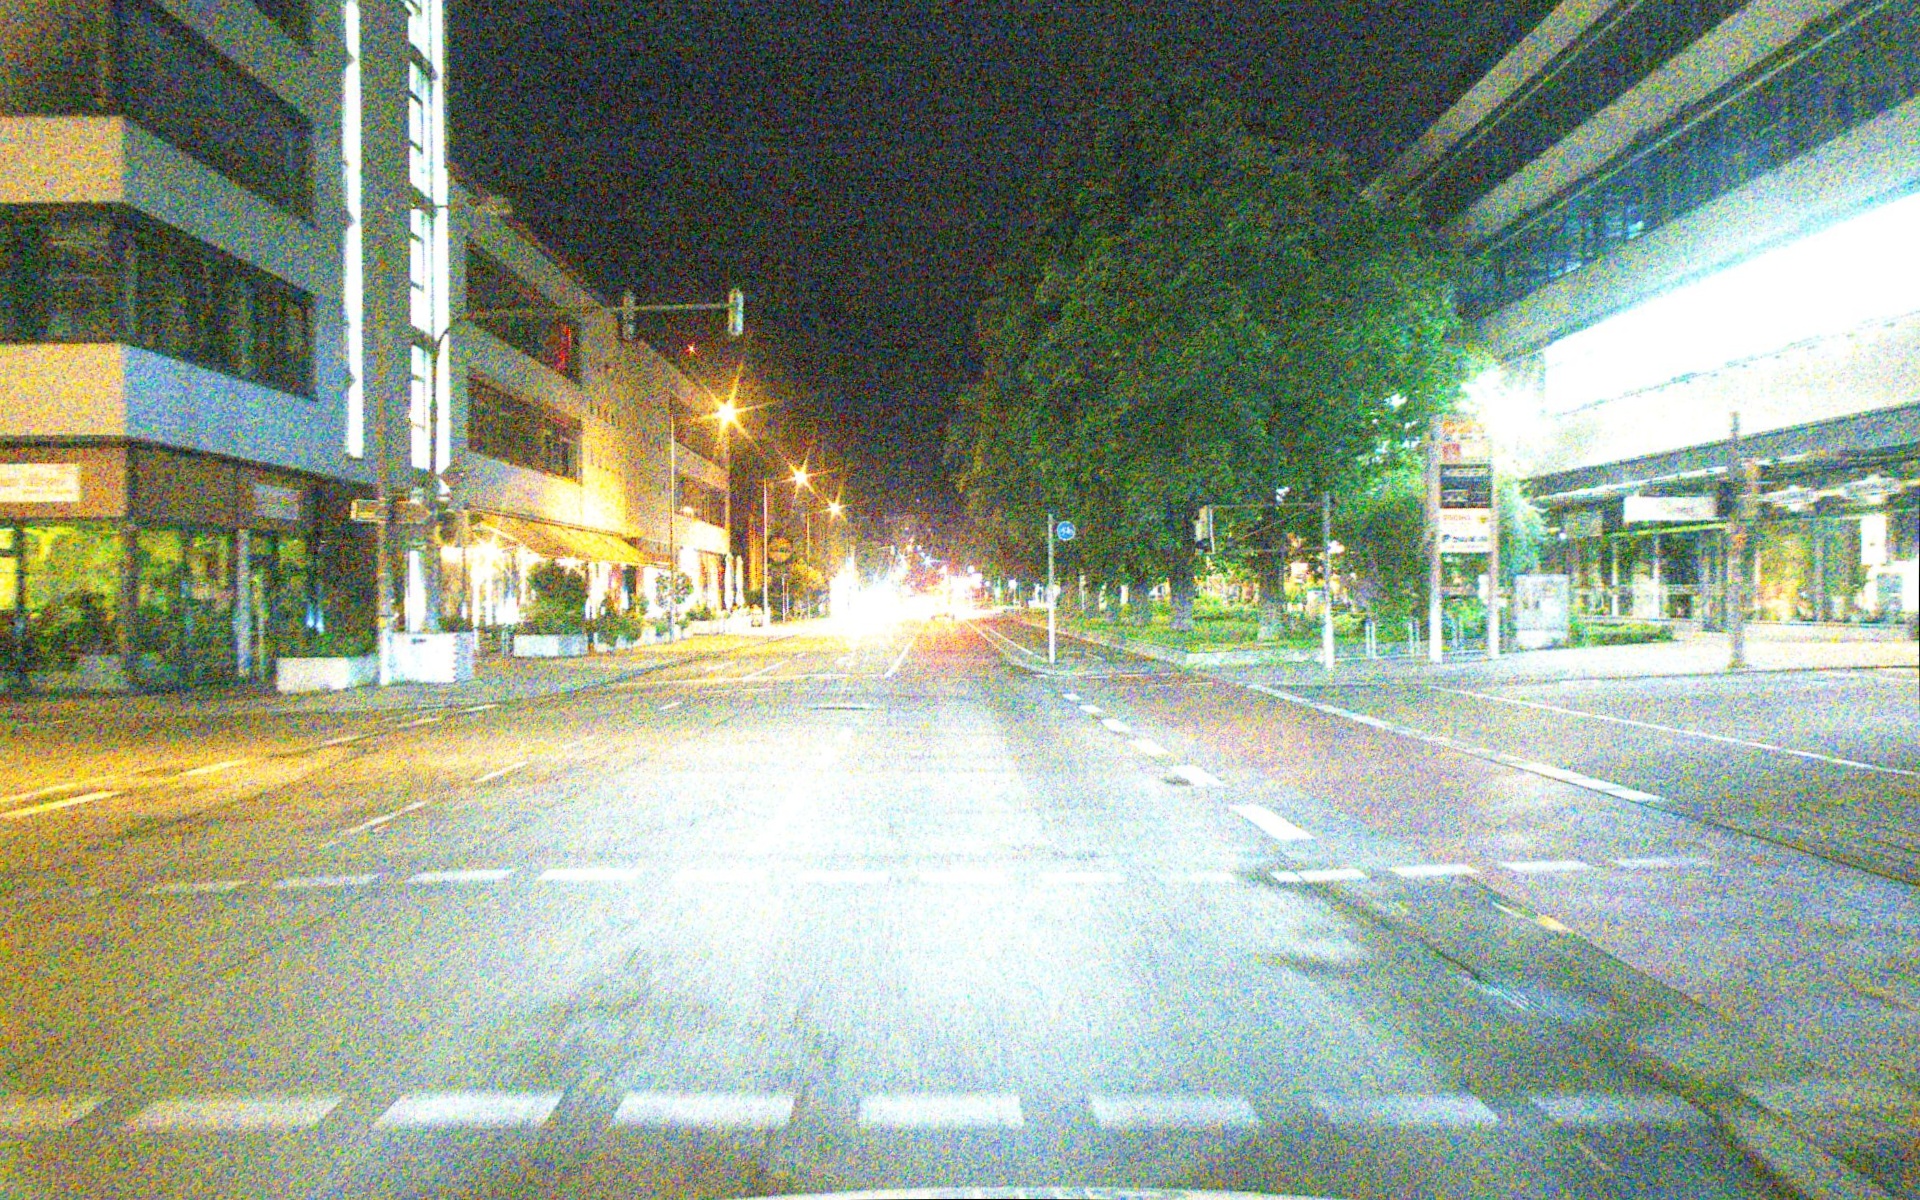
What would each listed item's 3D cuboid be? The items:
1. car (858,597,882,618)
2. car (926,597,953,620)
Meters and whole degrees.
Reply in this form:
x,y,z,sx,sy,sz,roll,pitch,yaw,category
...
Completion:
x,y,z,sx,sy,sz,roll,pitch,yaw,category
-7.611,0.646,140.235,1.953,1.672,3.999,-2,0,-2,car
-1.563,0.622,123.710,1.953,1.672,3.999,-2,0,-1,car
